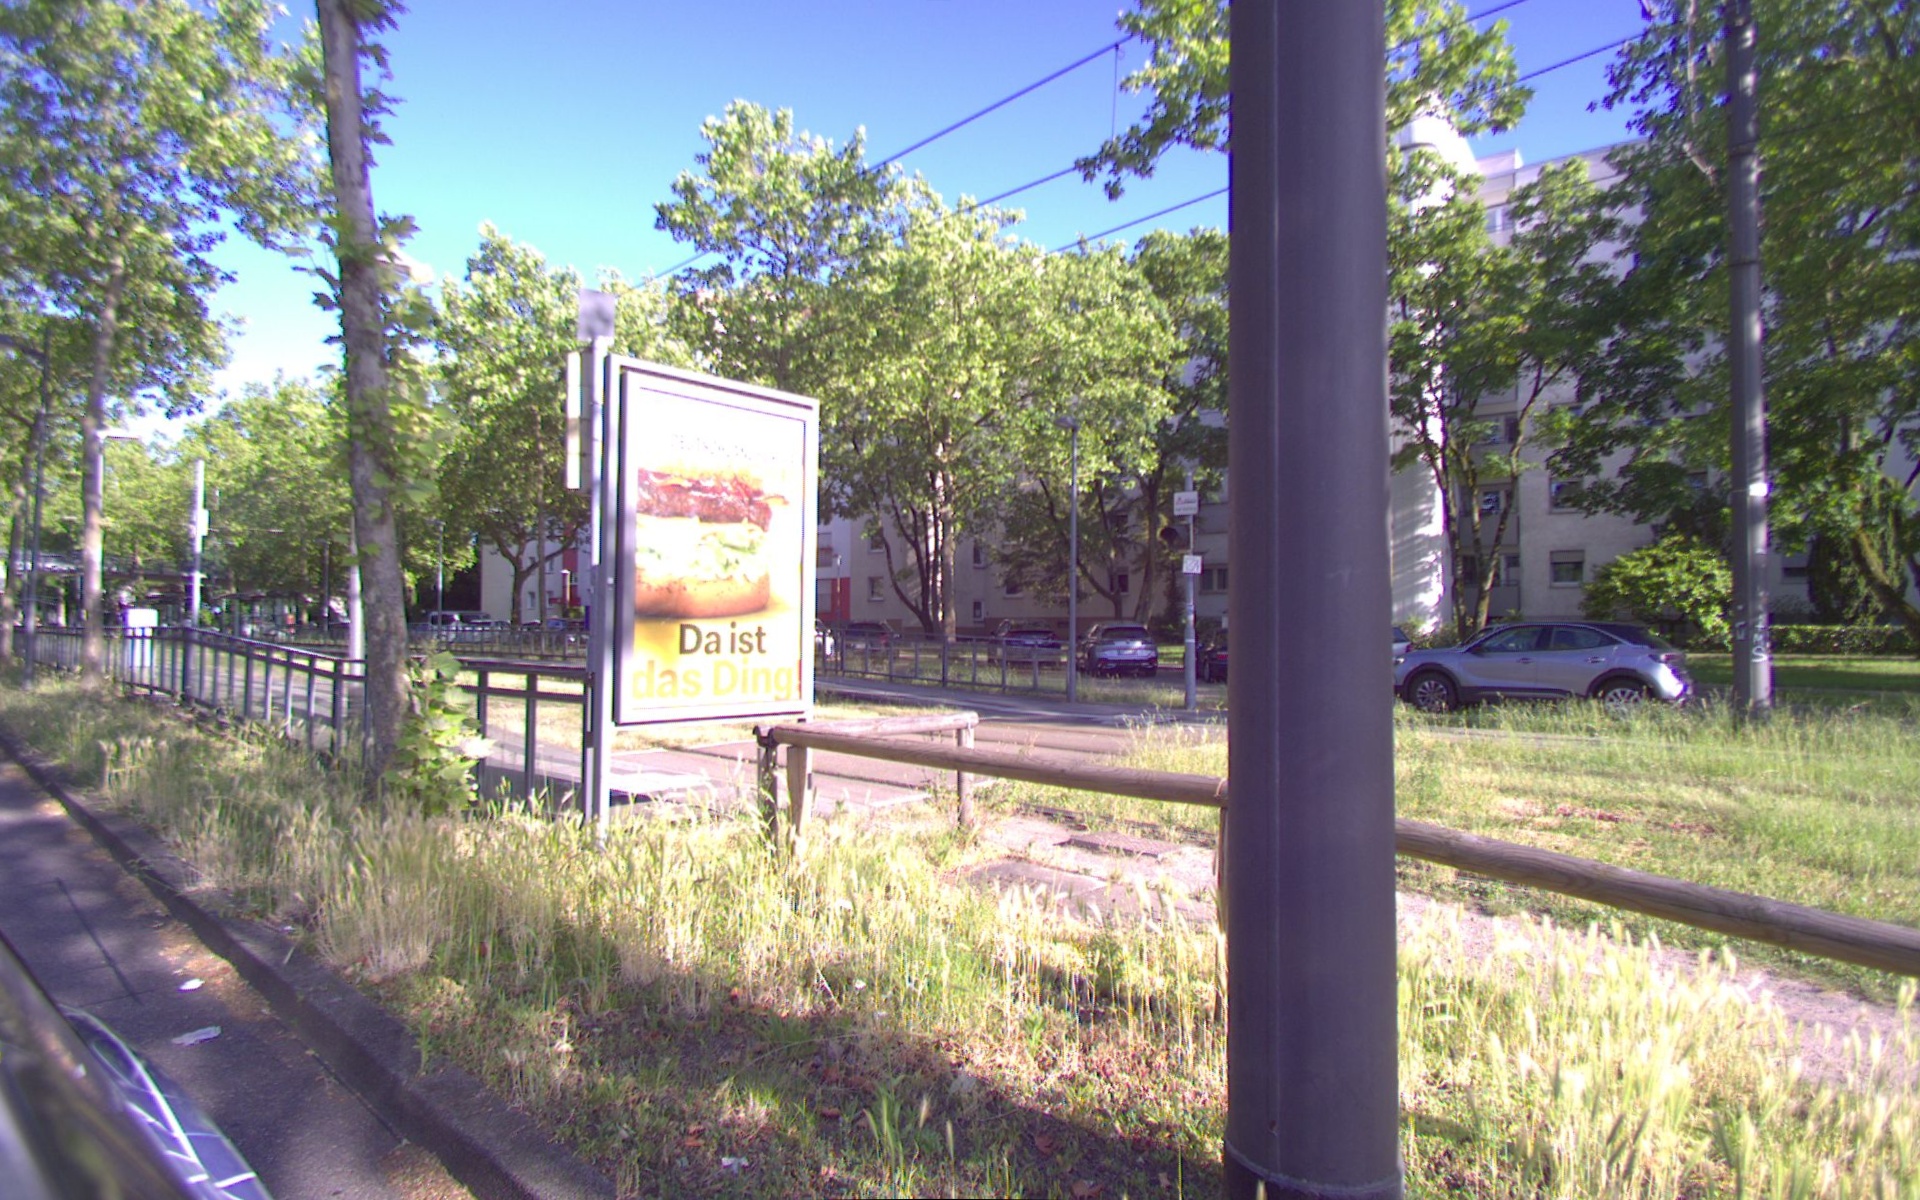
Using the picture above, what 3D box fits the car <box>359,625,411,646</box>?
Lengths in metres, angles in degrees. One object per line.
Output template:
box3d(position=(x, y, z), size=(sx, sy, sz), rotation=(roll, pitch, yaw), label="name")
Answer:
box3d(position=(-37.515, 2.295, 66.121), size=(1.459, 1.330, 3.488), rotation=(0, -1, -1), label="car")

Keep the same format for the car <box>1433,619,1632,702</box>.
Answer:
box3d(position=(11.509, 1.155, 20.692), size=(1.685, 1.454, 3.978), rotation=(-1, 0, -2), label="car")

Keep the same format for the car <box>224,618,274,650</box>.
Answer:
box3d(position=(-46.703, 2.221, 66.474), size=(4.652, 2.007, 1.772), rotation=(-1, -2, 43), label="car")

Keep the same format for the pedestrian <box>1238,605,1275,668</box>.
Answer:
box3d(position=(8.460, 1.024, 28.912), size=(0.755, 1.770, 0.752), rotation=(-1, -2, 41), label="pedestrian")

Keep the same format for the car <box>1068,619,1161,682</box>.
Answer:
box3d(position=(4.143, 1.321, 27.721), size=(1.650, 1.469, 4.004), rotation=(-1, 0, -4), label="car")

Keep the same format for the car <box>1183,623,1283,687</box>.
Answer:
box3d(position=(6.744, 1.319, 25.345), size=(1.572, 1.360, 3.922), rotation=(-1, 0, 3), label="car")

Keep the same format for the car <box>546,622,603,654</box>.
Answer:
box3d(position=(-18.703, 1.817, 49.276), size=(1.459, 1.339, 3.488), rotation=(-2, 0, -1), label="car")

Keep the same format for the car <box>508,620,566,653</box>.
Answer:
box3d(position=(-21.287, 1.833, 51.101), size=(1.539, 1.436, 3.489), rotation=(-3, 0, -2), label="car")

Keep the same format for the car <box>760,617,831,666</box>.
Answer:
box3d(position=(-5.992, 1.487, 37.216), size=(1.791, 1.607, 3.997), rotation=(-1, 0, 3), label="car")

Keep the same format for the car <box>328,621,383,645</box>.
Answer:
box3d(position=(-40.676, 2.193, 68.202), size=(1.578, 1.582, 3.830), rotation=(0, -1, -3), label="car")

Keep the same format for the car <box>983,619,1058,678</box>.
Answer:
box3d(position=(1.713, 1.373, 29.805), size=(1.669, 1.499, 4.003), rotation=(-1, 0, -4), label="car")

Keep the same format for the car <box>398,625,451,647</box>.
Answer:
box3d(position=(-33.051, 2.193, 62.569), size=(1.459, 1.311, 3.488), rotation=(0, -1, -1), label="car")

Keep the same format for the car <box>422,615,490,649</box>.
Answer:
box3d(position=(-28.389, 1.780, 57.164), size=(1.843, 1.826, 4.047), rotation=(0, -1, 0), label="car")

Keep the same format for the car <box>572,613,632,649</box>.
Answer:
box3d(position=(-16.552, 1.404, 46.945), size=(1.445, 1.519, 3.393), rotation=(-1, 0, 3), label="car")

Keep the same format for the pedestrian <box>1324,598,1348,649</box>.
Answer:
box3d(position=(13.105, 0.825, 35.250), size=(0.634, 1.770, 0.516), rotation=(-1, -2, 39), label="pedestrian")

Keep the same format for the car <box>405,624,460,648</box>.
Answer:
box3d(position=(-30.919, 2.089, 59.412), size=(1.459, 1.354, 3.488), rotation=(0, -1, -1), label="car")

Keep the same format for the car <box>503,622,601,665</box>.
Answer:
box3d(position=(-15.346, 1.586, 37.975), size=(4.100, 1.523, 1.746), rotation=(-1, -2, 41), label="car")

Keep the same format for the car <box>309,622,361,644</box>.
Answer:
box3d(position=(-44.969, 2.380, 72.912), size=(1.578, 1.538, 3.737), rotation=(0, -1, -3), label="car")

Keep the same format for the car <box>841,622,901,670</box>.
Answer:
box3d(position=(-3.001, 1.544, 34.667), size=(1.538, 1.439, 3.761), rotation=(-1, 0, 3), label="car")

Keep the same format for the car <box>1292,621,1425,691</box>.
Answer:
box3d(position=(9.143, 1.241, 23.537), size=(1.553, 1.431, 3.620), rotation=(-1, -1, -1), label="car")

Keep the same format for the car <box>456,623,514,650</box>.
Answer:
box3d(position=(-25.835, 1.987, 55.172), size=(1.605, 1.414, 3.488), rotation=(0, -1, -1), label="car")

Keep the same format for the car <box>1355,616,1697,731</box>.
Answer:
box3d(position=(8.646, 1.035, 15.707), size=(4.330, 1.534, 1.787), rotation=(-1, -2, 42), label="car")

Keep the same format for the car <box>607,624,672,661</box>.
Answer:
box3d(position=(-14.026, 1.841, 44.482), size=(1.470, 1.425, 3.880), rotation=(-1, 0, 3), label="car")
